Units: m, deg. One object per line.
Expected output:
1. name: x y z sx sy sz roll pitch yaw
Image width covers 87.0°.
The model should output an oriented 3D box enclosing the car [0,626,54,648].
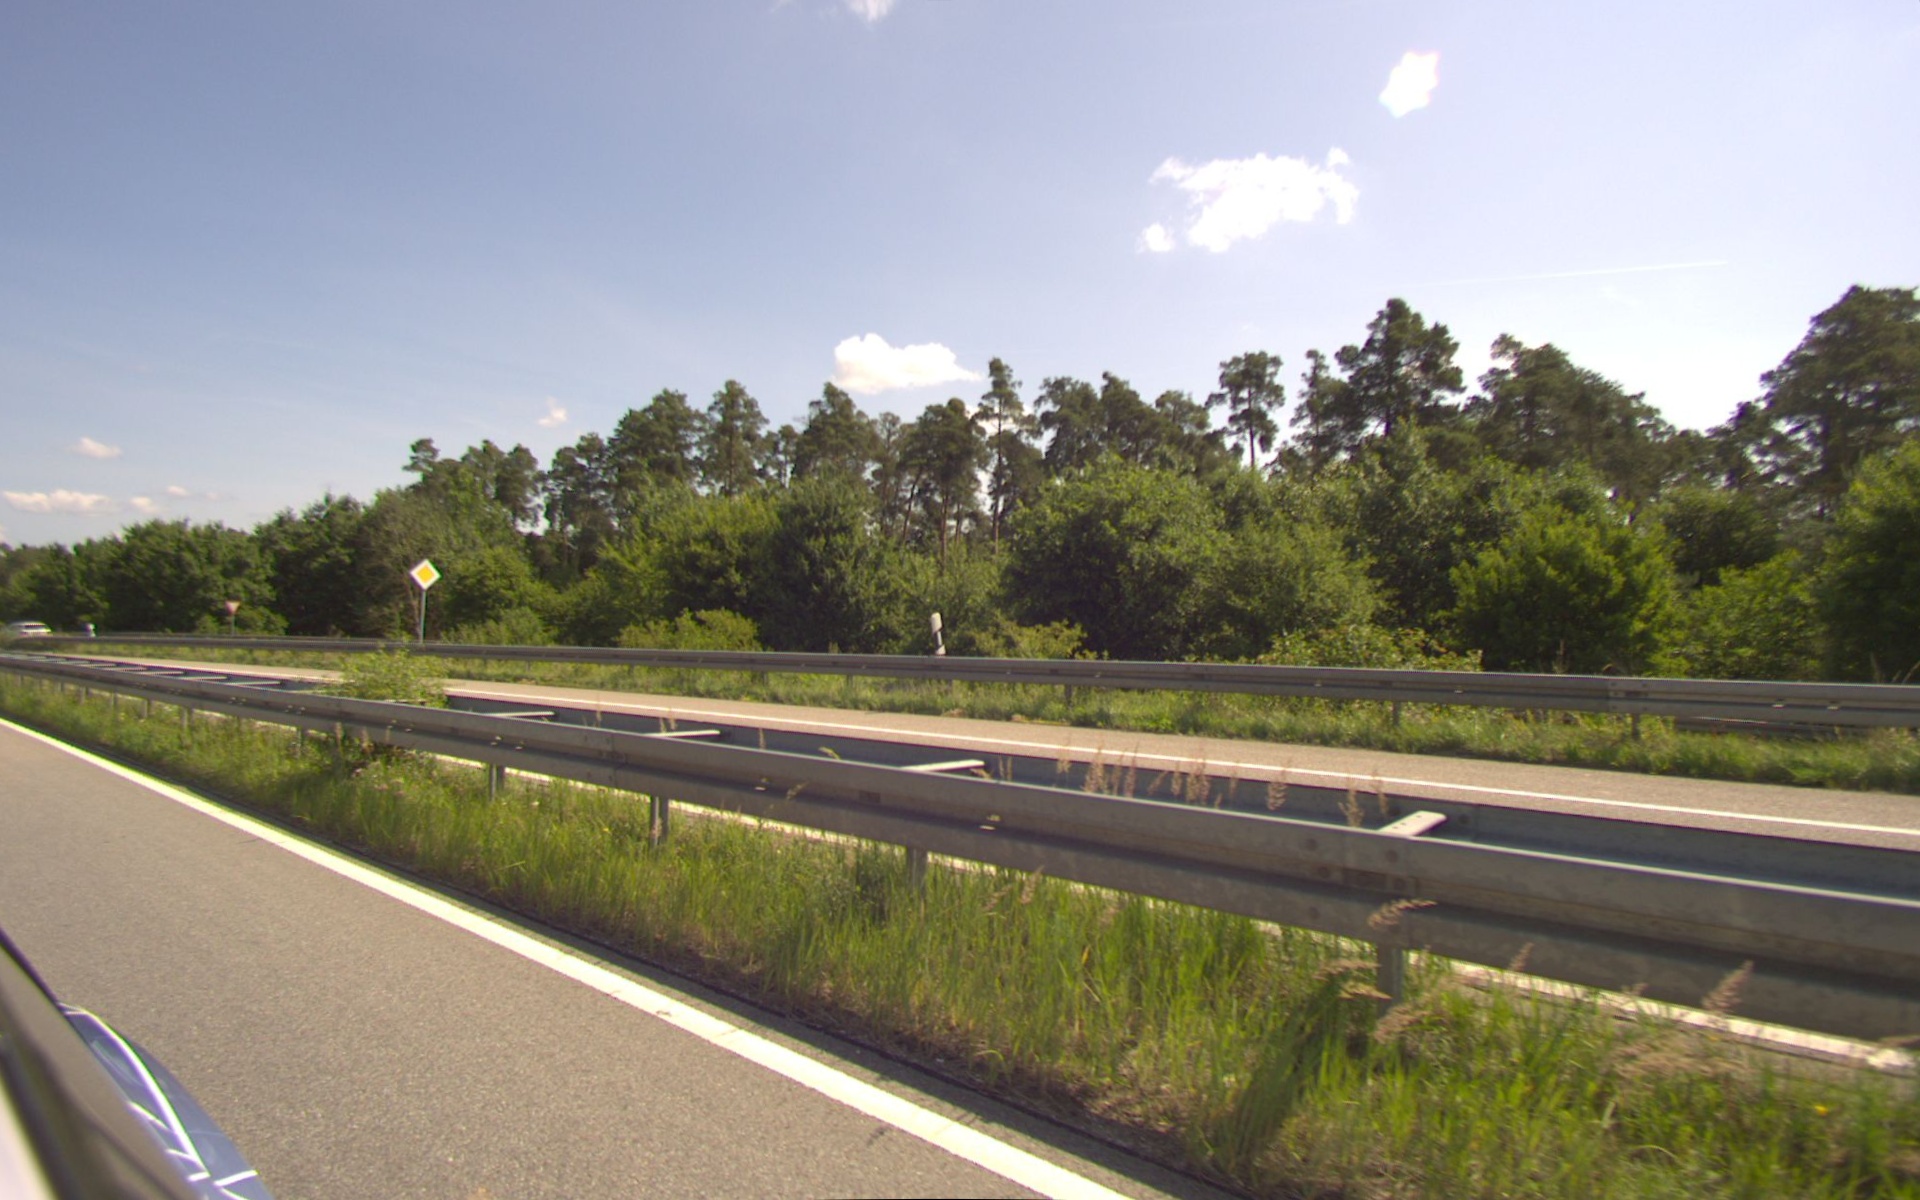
1. car: -62.728 2.438 67.581 4.813 1.425 1.934 -1 -2 30
